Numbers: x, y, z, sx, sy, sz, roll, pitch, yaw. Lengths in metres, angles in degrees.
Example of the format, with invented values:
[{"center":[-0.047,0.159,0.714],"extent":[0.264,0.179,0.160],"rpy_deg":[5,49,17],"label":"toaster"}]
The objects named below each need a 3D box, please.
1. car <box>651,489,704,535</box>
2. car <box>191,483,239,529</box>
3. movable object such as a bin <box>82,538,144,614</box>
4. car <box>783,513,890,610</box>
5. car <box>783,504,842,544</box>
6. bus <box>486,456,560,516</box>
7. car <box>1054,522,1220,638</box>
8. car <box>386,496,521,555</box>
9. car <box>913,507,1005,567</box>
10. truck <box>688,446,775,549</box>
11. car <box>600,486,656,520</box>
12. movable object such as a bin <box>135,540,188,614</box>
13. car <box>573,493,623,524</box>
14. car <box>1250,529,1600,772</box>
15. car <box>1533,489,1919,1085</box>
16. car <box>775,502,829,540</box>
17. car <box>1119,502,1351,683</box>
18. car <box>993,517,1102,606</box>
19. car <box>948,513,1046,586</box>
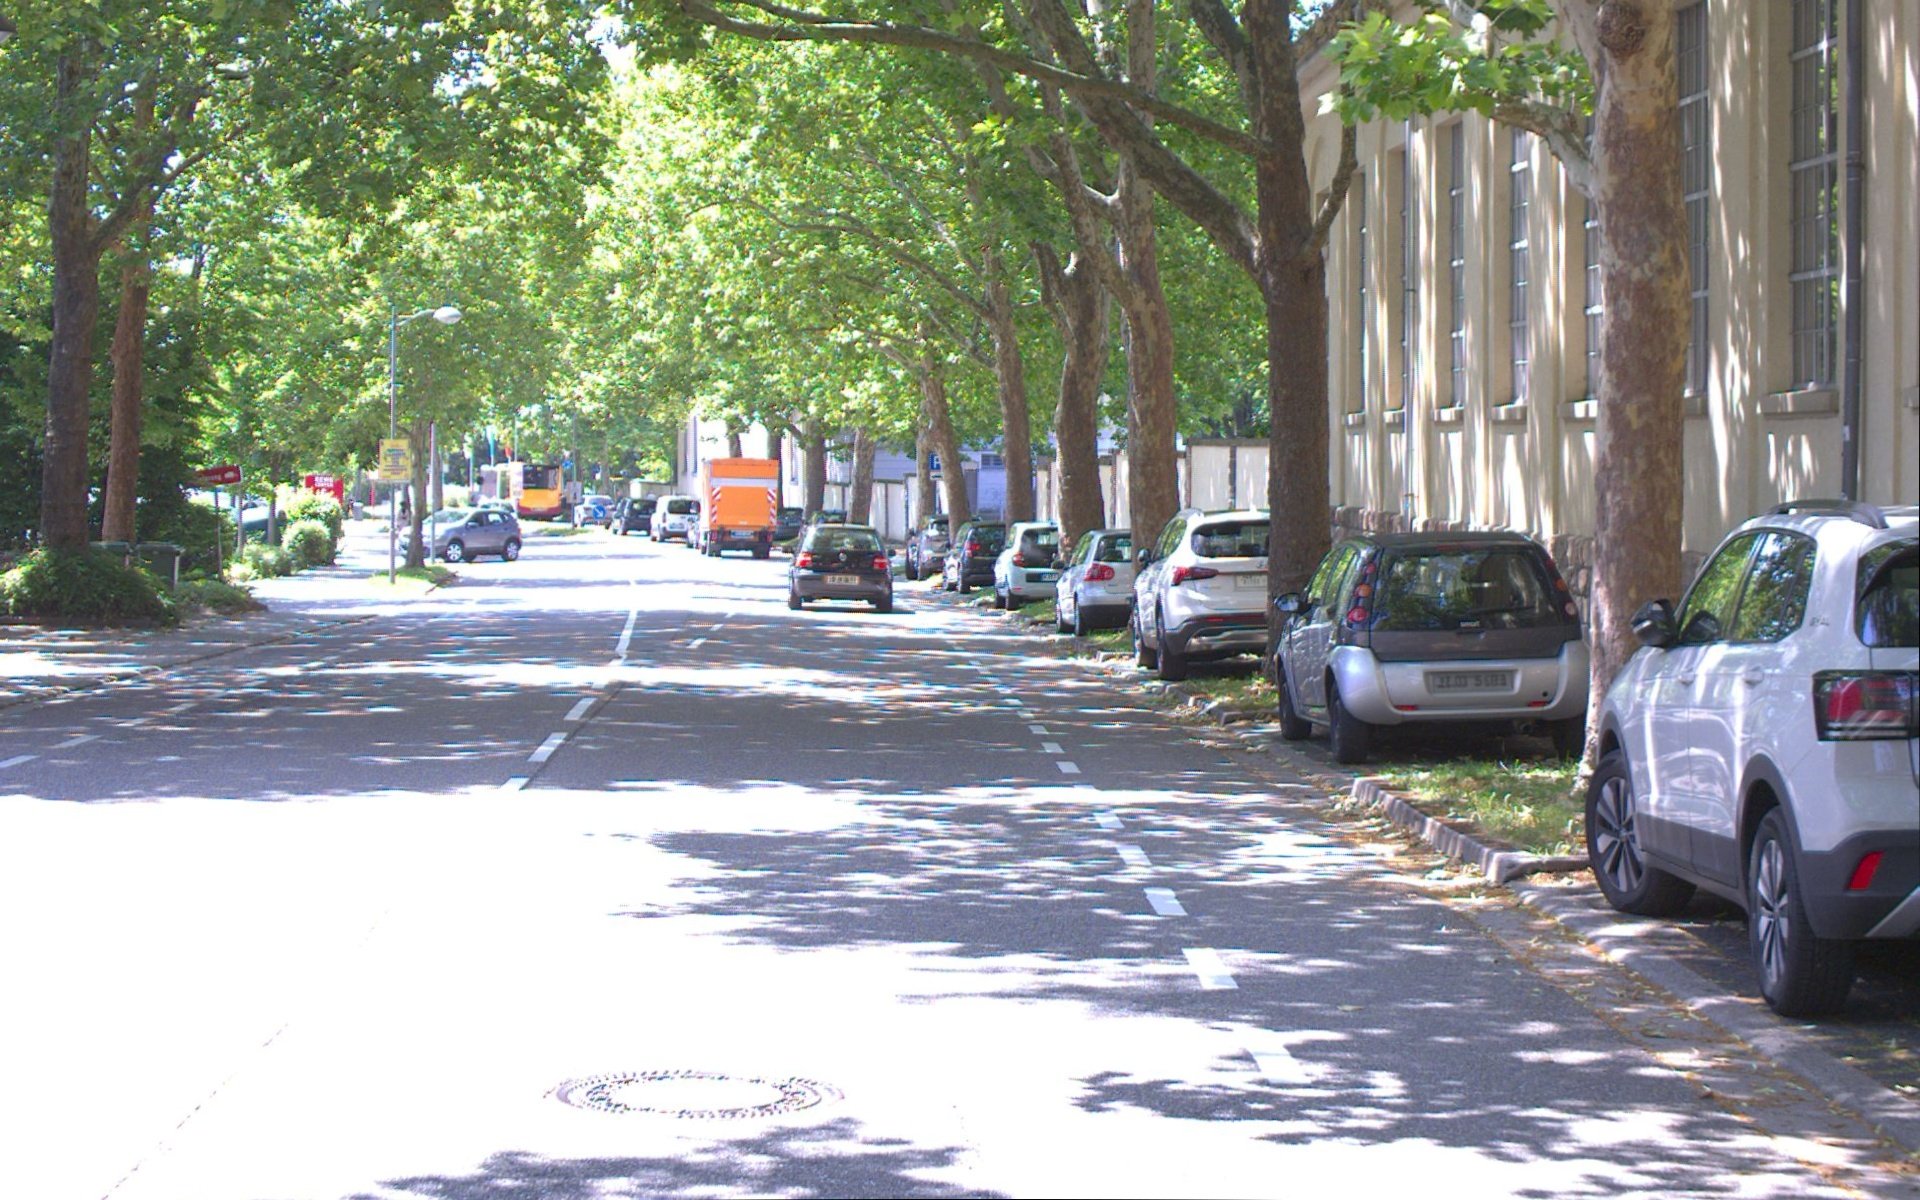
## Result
[{"center":[-10.837,-3.359,131.683],"extent":[1.879,1.680,4.001],"rpy_deg":[0,0,-7],"label":"car"},{"center":[-33.981,-4.274,156.746],"extent":[1.993,2.007,4.001],"rpy_deg":[-1,0,-14],"label":"car"},{"center":[-12.207,-0.345,49.546],"extent":[0.734,1.074,0.701],"rpy_deg":[0,2,-2],"label":"movable object such as a bin"},{"center":[-2.105,-0.676,57.798],"extent":[1.711,1.442,4.059],"rpy_deg":[-1,3,-3],"label":"car"},{"center":[-5.110,-2.618,118.529],"extent":[1.766,1.369,3.731],"rpy_deg":[0,1,-6],"label":"car"},{"center":[-24.198,-6.261,189.885],"extent":[2.663,3.139,11.201],"rpy_deg":[-1,1,-14],"label":"bus"},{"center":[2.317,-0.302,45.949],"extent":[1.766,1.428,3.876],"rpy_deg":[-2,2,-3],"label":"car"},{"center":[-14.828,-2.160,100.904],"extent":[1.996,1.660,3.994],"rpy_deg":[0,0,26],"label":"car"},{"center":[-0.053,-1.528,82.618],"extent":[1.766,1.369,3.731],"rpy_deg":[-2,2,-6],"label":"car"},{"center":[-7.314,-3.218,109.684],"extent":[2.370,3.123,5.770],"rpy_deg":[0,0,-8],"label":"truck"},{"center":[-14.127,-4.127,146.130],"extent":[1.766,1.369,3.731],"rpy_deg":[-2,2,-15],"label":"car"},{"center":[-11.518,-0.335,49.612],"extent":[0.623,1.045,0.620],"rpy_deg":[0,2,-1],"label":"movable object such as a bin"},{"center":[-16.980,-4.284,161.223],"extent":[1.766,1.369,3.731],"rpy_deg":[-2,2,-14],"label":"car"},{"center":[3.074,0.268,23.547],"extent":[1.621,1.434,4.433],"rpy_deg":[-2,2,-2],"label":"car"},{"center":[3.275,0.434,11.804],"extent":[1.741,1.552,4.780],"rpy_deg":[-2,2,0],"label":"car"},{"center":[-6.023,-3.007,130.896],"extent":[1.766,1.369,3.731],"rpy_deg":[-2,2,-6],"label":"car"},{"center":[2.747,-0.131,35.344],"extent":[1.807,1.683,4.752],"rpy_deg":[-2,2,-2],"label":"car"},{"center":[1.511,-0.699,60.586],"extent":[1.577,1.460,3.876],"rpy_deg":[-2,2,-3],"label":"car"},{"center":[0.760,-1.096,73.049],"extent":[1.766,1.460,3.876],"rpy_deg":[-2,2,-3],"label":"car"}]
